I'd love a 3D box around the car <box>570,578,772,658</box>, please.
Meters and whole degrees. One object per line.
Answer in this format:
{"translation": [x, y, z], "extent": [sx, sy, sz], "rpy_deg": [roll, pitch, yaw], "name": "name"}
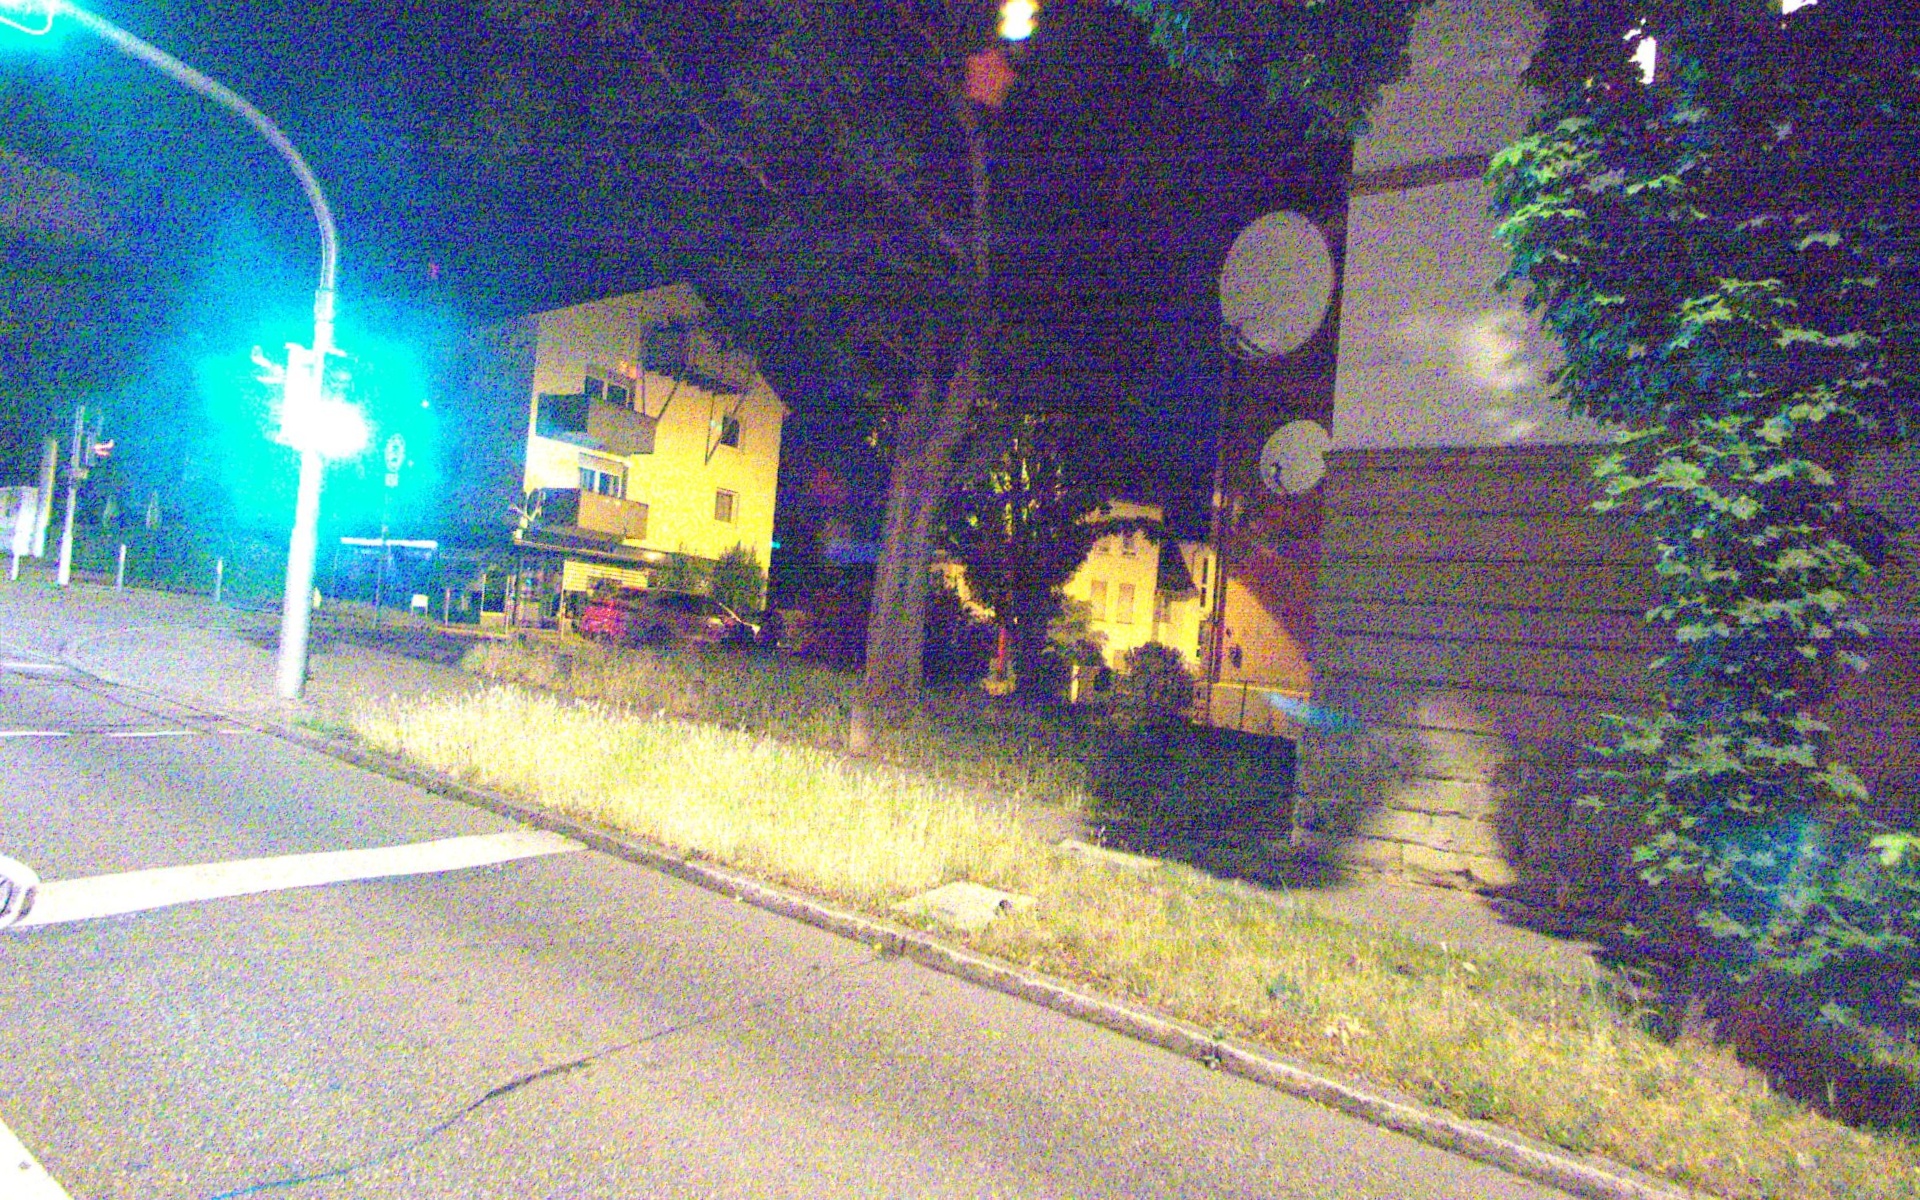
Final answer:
{"translation": [-6.548, 0.454, 23.174], "extent": [1.740, 1.295, 4.131], "rpy_deg": [6, -3, 39], "name": "car"}
